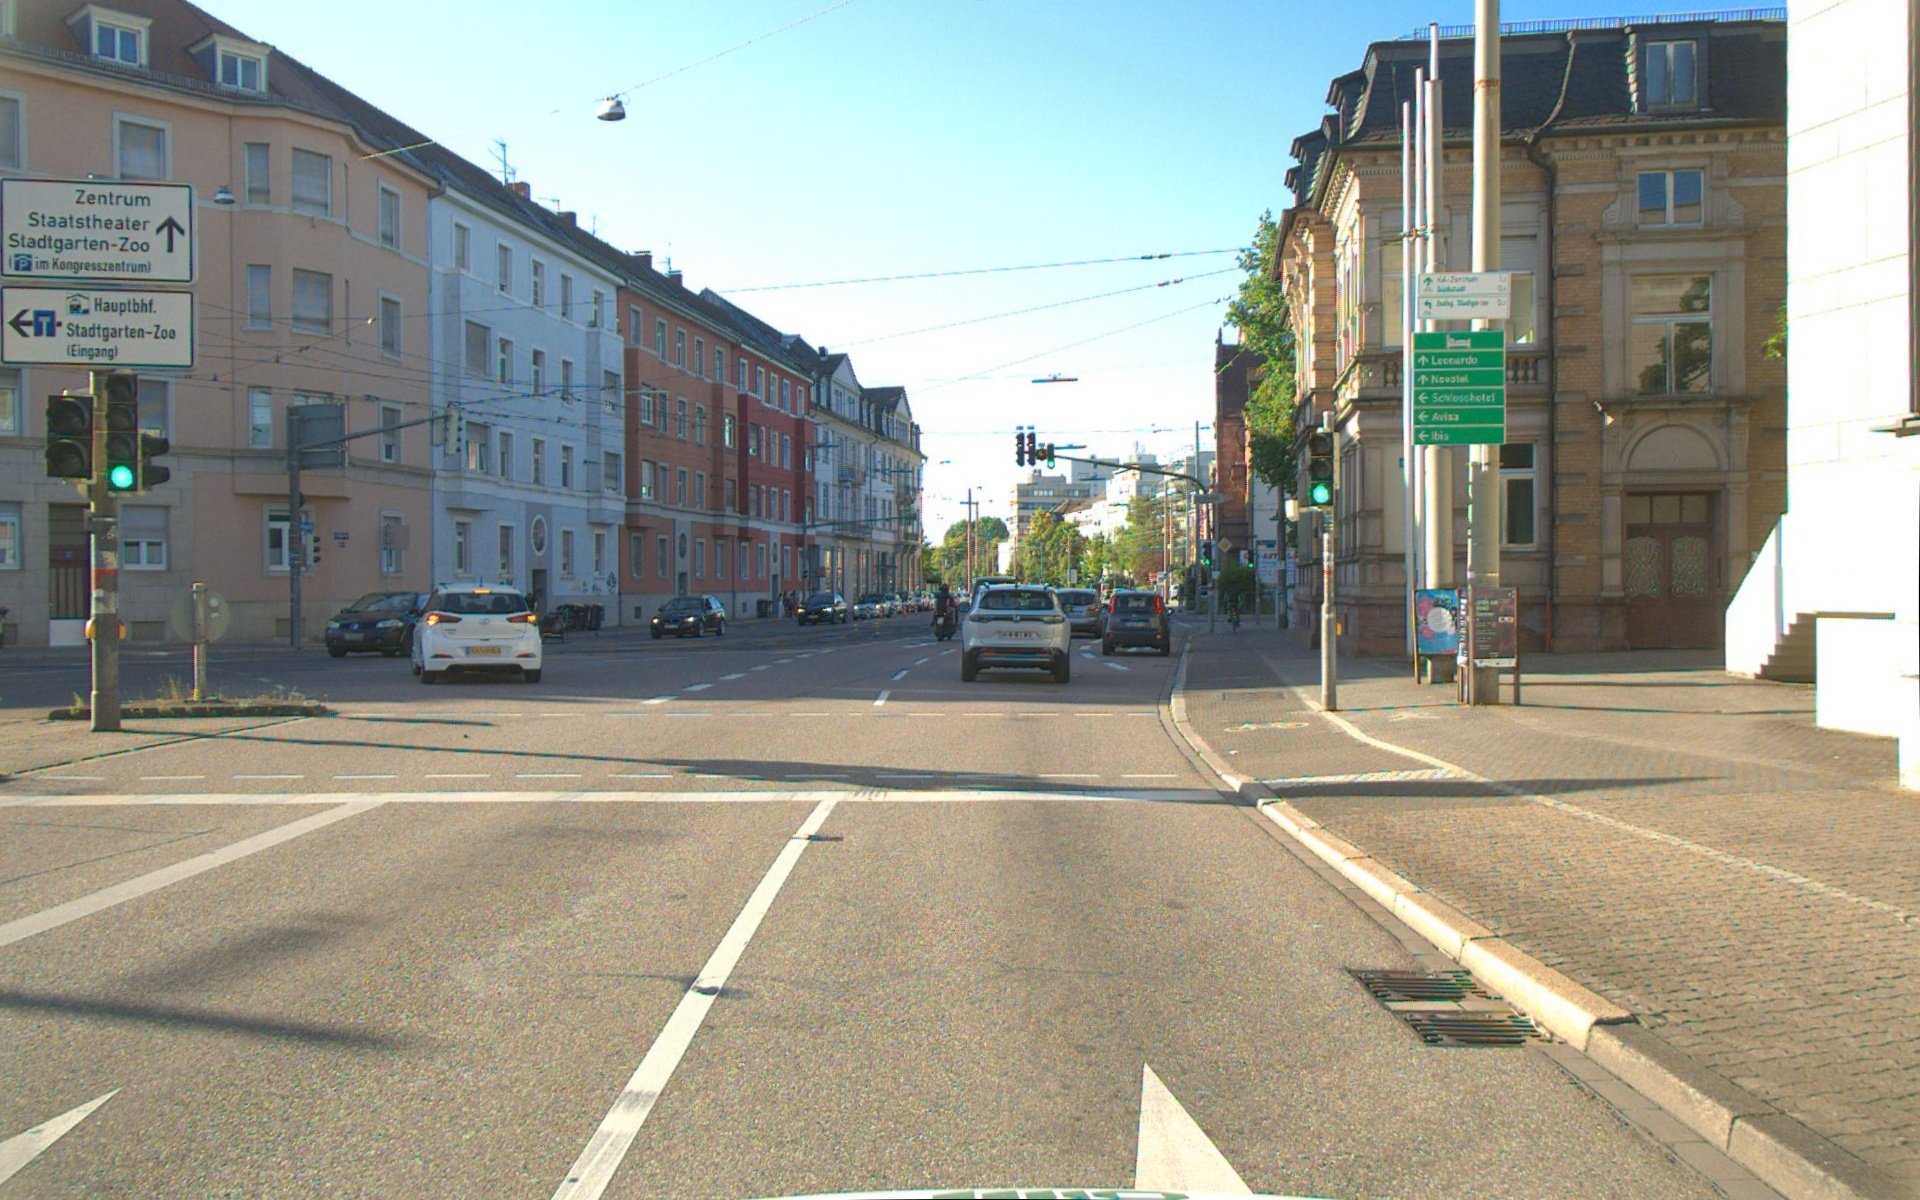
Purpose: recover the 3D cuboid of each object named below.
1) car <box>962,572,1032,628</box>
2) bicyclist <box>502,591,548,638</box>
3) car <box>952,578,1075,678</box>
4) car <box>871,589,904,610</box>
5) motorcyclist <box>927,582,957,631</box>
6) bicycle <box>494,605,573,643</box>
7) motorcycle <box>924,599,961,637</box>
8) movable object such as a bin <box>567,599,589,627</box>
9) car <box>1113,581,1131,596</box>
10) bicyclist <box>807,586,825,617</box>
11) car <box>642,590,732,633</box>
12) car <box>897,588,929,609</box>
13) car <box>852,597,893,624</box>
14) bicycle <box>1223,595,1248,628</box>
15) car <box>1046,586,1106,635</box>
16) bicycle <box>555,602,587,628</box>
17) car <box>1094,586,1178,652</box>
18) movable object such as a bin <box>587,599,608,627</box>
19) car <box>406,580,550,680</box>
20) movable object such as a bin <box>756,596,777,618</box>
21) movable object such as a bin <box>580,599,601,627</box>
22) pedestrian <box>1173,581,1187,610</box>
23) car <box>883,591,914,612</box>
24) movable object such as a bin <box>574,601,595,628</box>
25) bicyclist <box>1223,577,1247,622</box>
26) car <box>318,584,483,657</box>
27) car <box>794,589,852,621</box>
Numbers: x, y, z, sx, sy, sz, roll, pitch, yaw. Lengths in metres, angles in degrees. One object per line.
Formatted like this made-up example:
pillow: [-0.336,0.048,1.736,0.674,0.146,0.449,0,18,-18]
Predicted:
car: [1.452,-0.018,63.132,2.126,2.044,4.812,0,0,8]
bicyclist: [-13.101,0.426,49.848,0.914,1.406,1.149,0,0,13]
car: [0.896,0.411,27.725,1.907,1.555,4.091,0,1,2]
car: [-5.315,-0.029,120.934,1.682,1.477,4.003,0,0,8]
motorcyclist: [-0.543,0.195,49.726,0.760,1.448,0.892,0,0,8]
bicycle: [-12.970,0.726,50.417,0.914,1.074,3.357,0,1,13]
motorcycle: [-0.517,0.541,49.905,0.760,1.101,2.283,0,1,8]
movable object such as a bin: [-15.521,0.516,67.166,0.687,1.125,0.649,0,0,8]
car: [18.194,-1.273,185.529,1.951,1.691,4.501,0,1,7]
bicyclist: [-7.830,0.090,90.238,0.730,1.671,1.127,0,0,8]
car: [-9.478,0.370,57.833,1.951,1.416,4.565,0,0,6]
car: [-3.747,-0.143,132.565,1.796,1.579,4.278,0,0,8]
car: [-4.797,0.565,90.984,1.689,1.399,3.537,0,0,7]
bicycle: [9.474,0.384,56.997,0.754,1.105,1.872,0,0,7]
car: [3.976,0.326,56.312,1.775,1.610,4.003,0,0,8]
bicycle: [-15.514,0.584,66.017,0.592,0.997,1.878,1,0,8]
car: [4.360,0.432,40.603,1.694,1.527,4.004,0,1,11]
movable object such as a bin: [-15.167,0.543,69.195,0.687,1.125,0.583,0,0,8]
car: [-7.514,0.408,25.541,1.761,1.418,4.078,0,0,-22]
movable object such as a bin: [-11.243,0.396,96.081,0.852,1.271,1.234,0,0,14]
movable object such as a bin: [-15.315,0.530,68.513,0.687,1.125,0.583,0,0,8]
pedestrian: [14.148,-0.308,106.451,0.857,1.856,1.185,0,0,9]
car: [-4.645,0.123,125.845,1.682,1.579,3.859,0,0,8]
movable object such as a bin: [-15.401,0.586,67.813,0.687,1.125,0.583,0,0,8]
bicyclist: [9.470,-0.023,56.985,0.816,1.552,0.995,0,0,8]
car: [-11.854,0.394,35.368,1.785,1.450,4.330,0,0,4]
car: [-6.510,0.231,79.062,1.881,1.481,4.502,0,0,8]
